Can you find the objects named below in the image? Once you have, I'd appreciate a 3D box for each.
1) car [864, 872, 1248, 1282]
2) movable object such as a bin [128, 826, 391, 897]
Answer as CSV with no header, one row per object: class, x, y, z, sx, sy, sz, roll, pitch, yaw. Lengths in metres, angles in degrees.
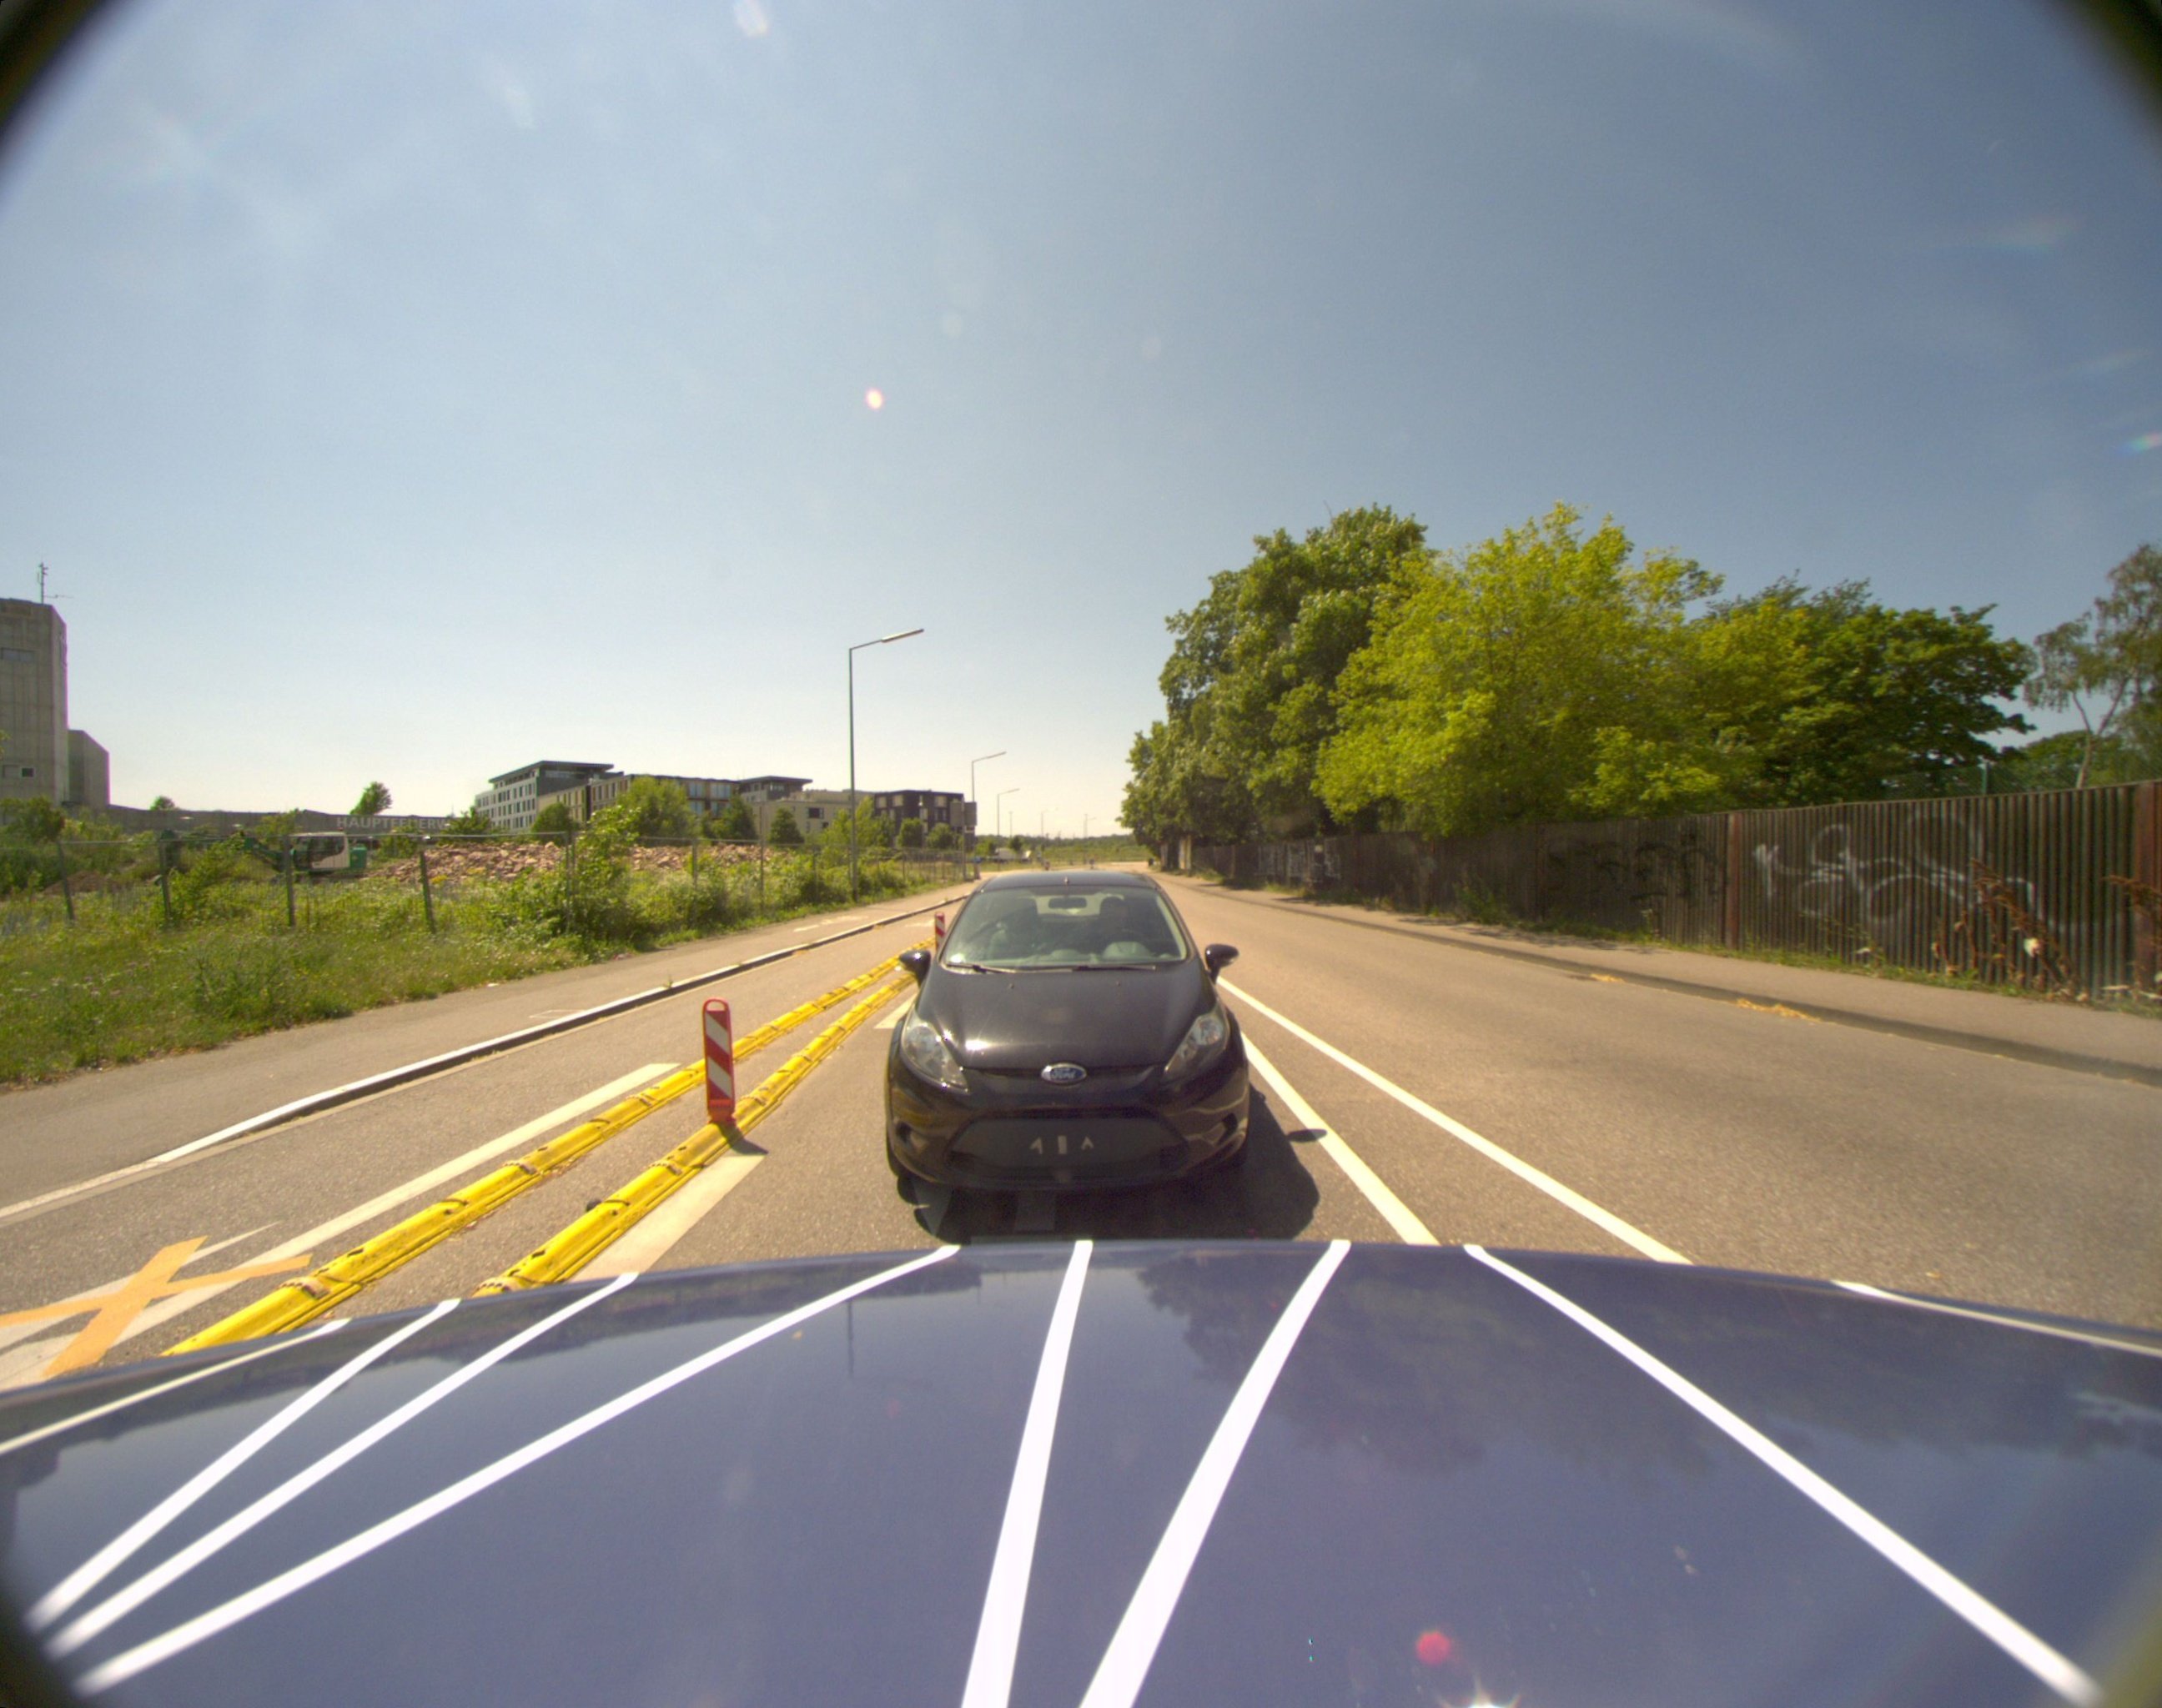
car,-0.074,0.973,5.135,1.528,1.510,3.999,-2,1,1
movable object such as a bin,-38.336,0.268,35.995,3.231,2.899,7.702,-2,1,15
